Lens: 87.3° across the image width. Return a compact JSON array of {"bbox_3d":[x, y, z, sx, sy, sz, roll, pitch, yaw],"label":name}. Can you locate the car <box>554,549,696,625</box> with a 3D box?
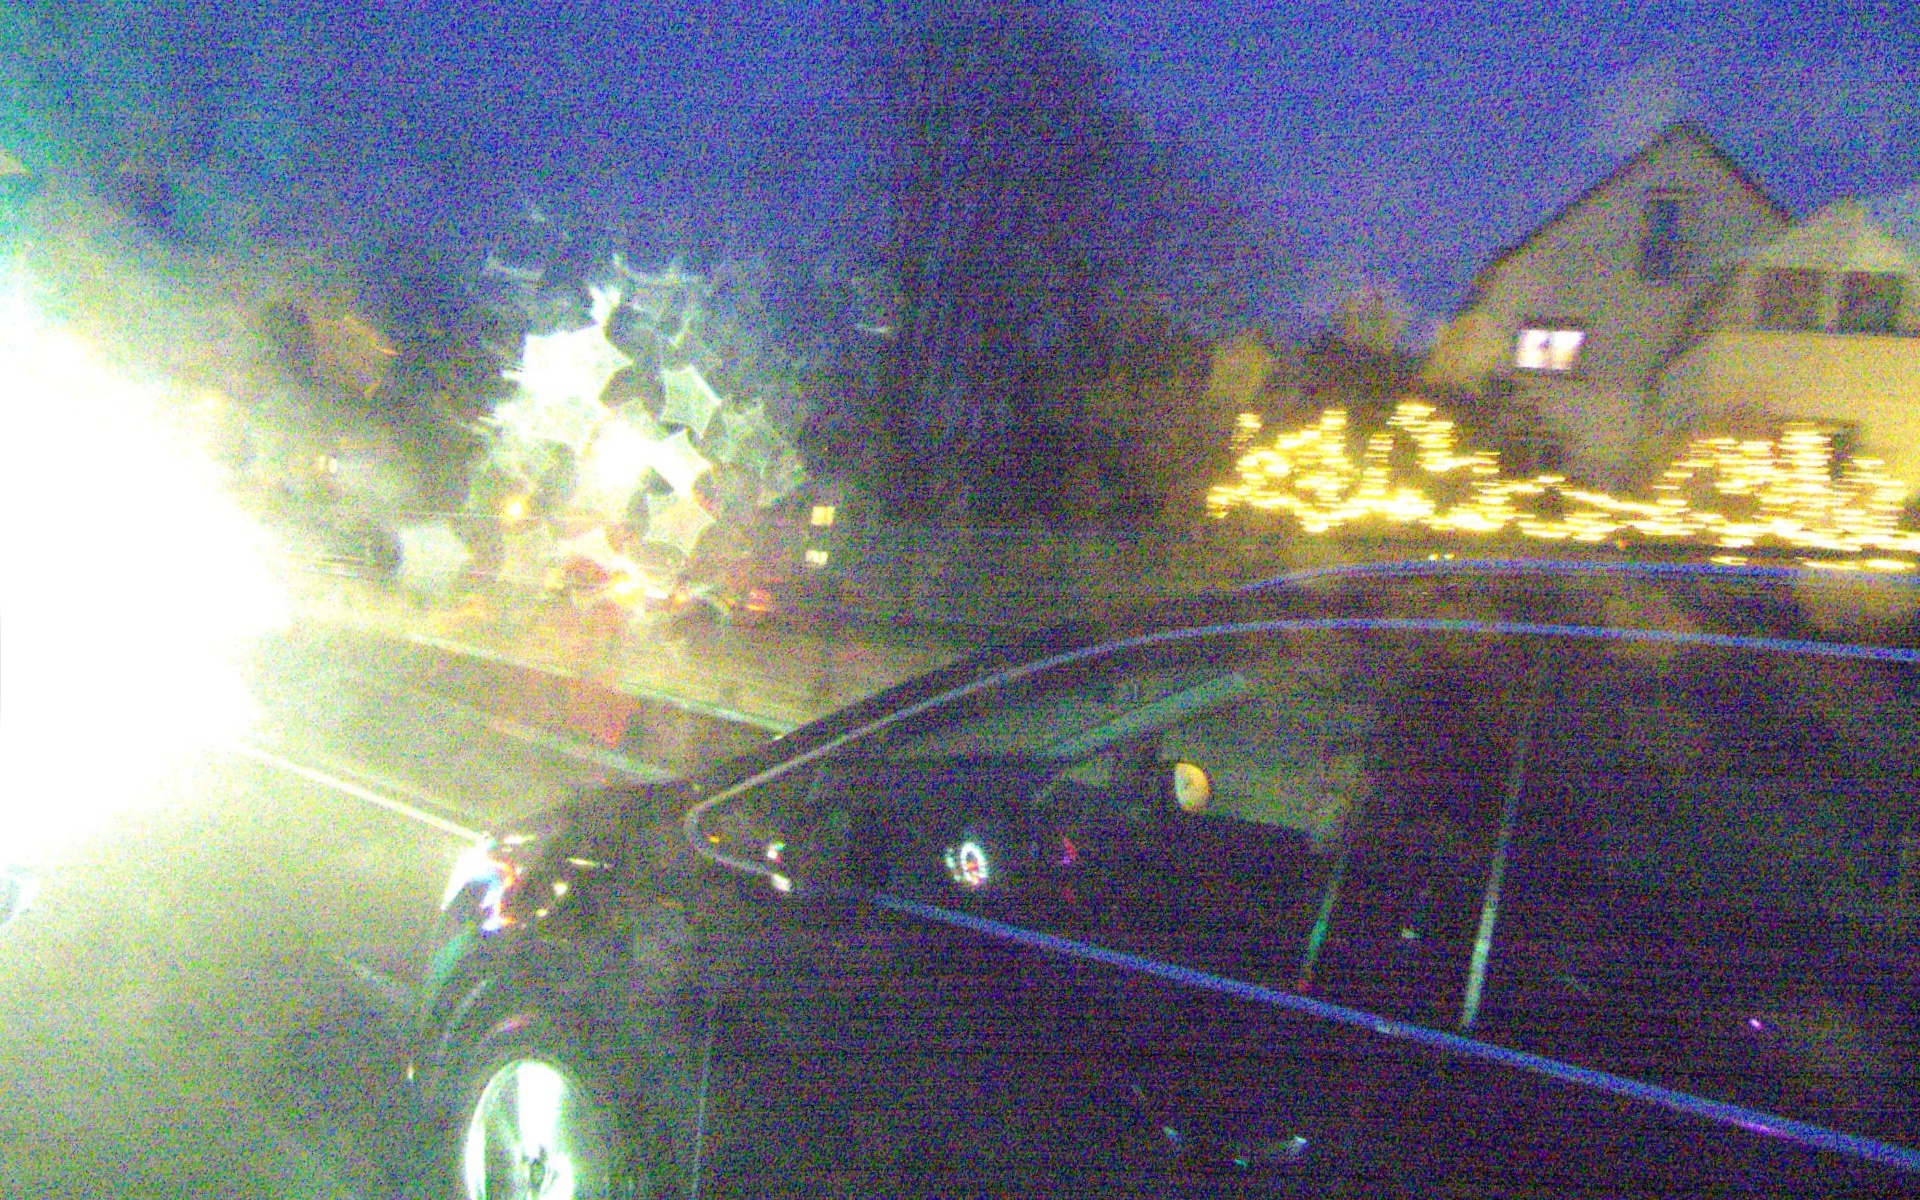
[{"bbox_3d":[-8.553,-0.367,25.435,1.714,1.500,4.656,9,-3,-39],"label":"car"}]

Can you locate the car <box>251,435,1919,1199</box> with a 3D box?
[{"bbox_3d":[0.924,0.790,1.946,4.859,1.755,1.838,6,-2,32],"label":"car"}]

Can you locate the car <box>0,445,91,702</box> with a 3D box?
[{"bbox_3d":[-9.171,-0.438,8.163,4.269,1.886,1.856,6,-2,32],"label":"car"}]

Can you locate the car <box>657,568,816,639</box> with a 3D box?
[{"bbox_3d":[-6.374,0.117,28.811,3.964,1.446,1.828,9,-3,-34],"label":"car"}]

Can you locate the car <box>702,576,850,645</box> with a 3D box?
[{"bbox_3d":[-4.828,0.290,26.582,3.484,1.306,1.457,10,-3,-40],"label":"car"}]

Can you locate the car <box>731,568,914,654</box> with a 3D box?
[{"bbox_3d":[-3.261,0.292,24.241,3.921,1.504,1.745,10,-3,-40],"label":"car"}]

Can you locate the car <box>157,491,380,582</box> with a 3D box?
[{"bbox_3d":[-17.028,-1.509,25.082,4.297,1.476,1.838,9,-2,-30],"label":"car"}]

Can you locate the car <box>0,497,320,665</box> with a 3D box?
[{"bbox_3d":[-9.746,-0.257,11.974,4.166,1.459,1.788,7,0,30],"label":"car"}]
